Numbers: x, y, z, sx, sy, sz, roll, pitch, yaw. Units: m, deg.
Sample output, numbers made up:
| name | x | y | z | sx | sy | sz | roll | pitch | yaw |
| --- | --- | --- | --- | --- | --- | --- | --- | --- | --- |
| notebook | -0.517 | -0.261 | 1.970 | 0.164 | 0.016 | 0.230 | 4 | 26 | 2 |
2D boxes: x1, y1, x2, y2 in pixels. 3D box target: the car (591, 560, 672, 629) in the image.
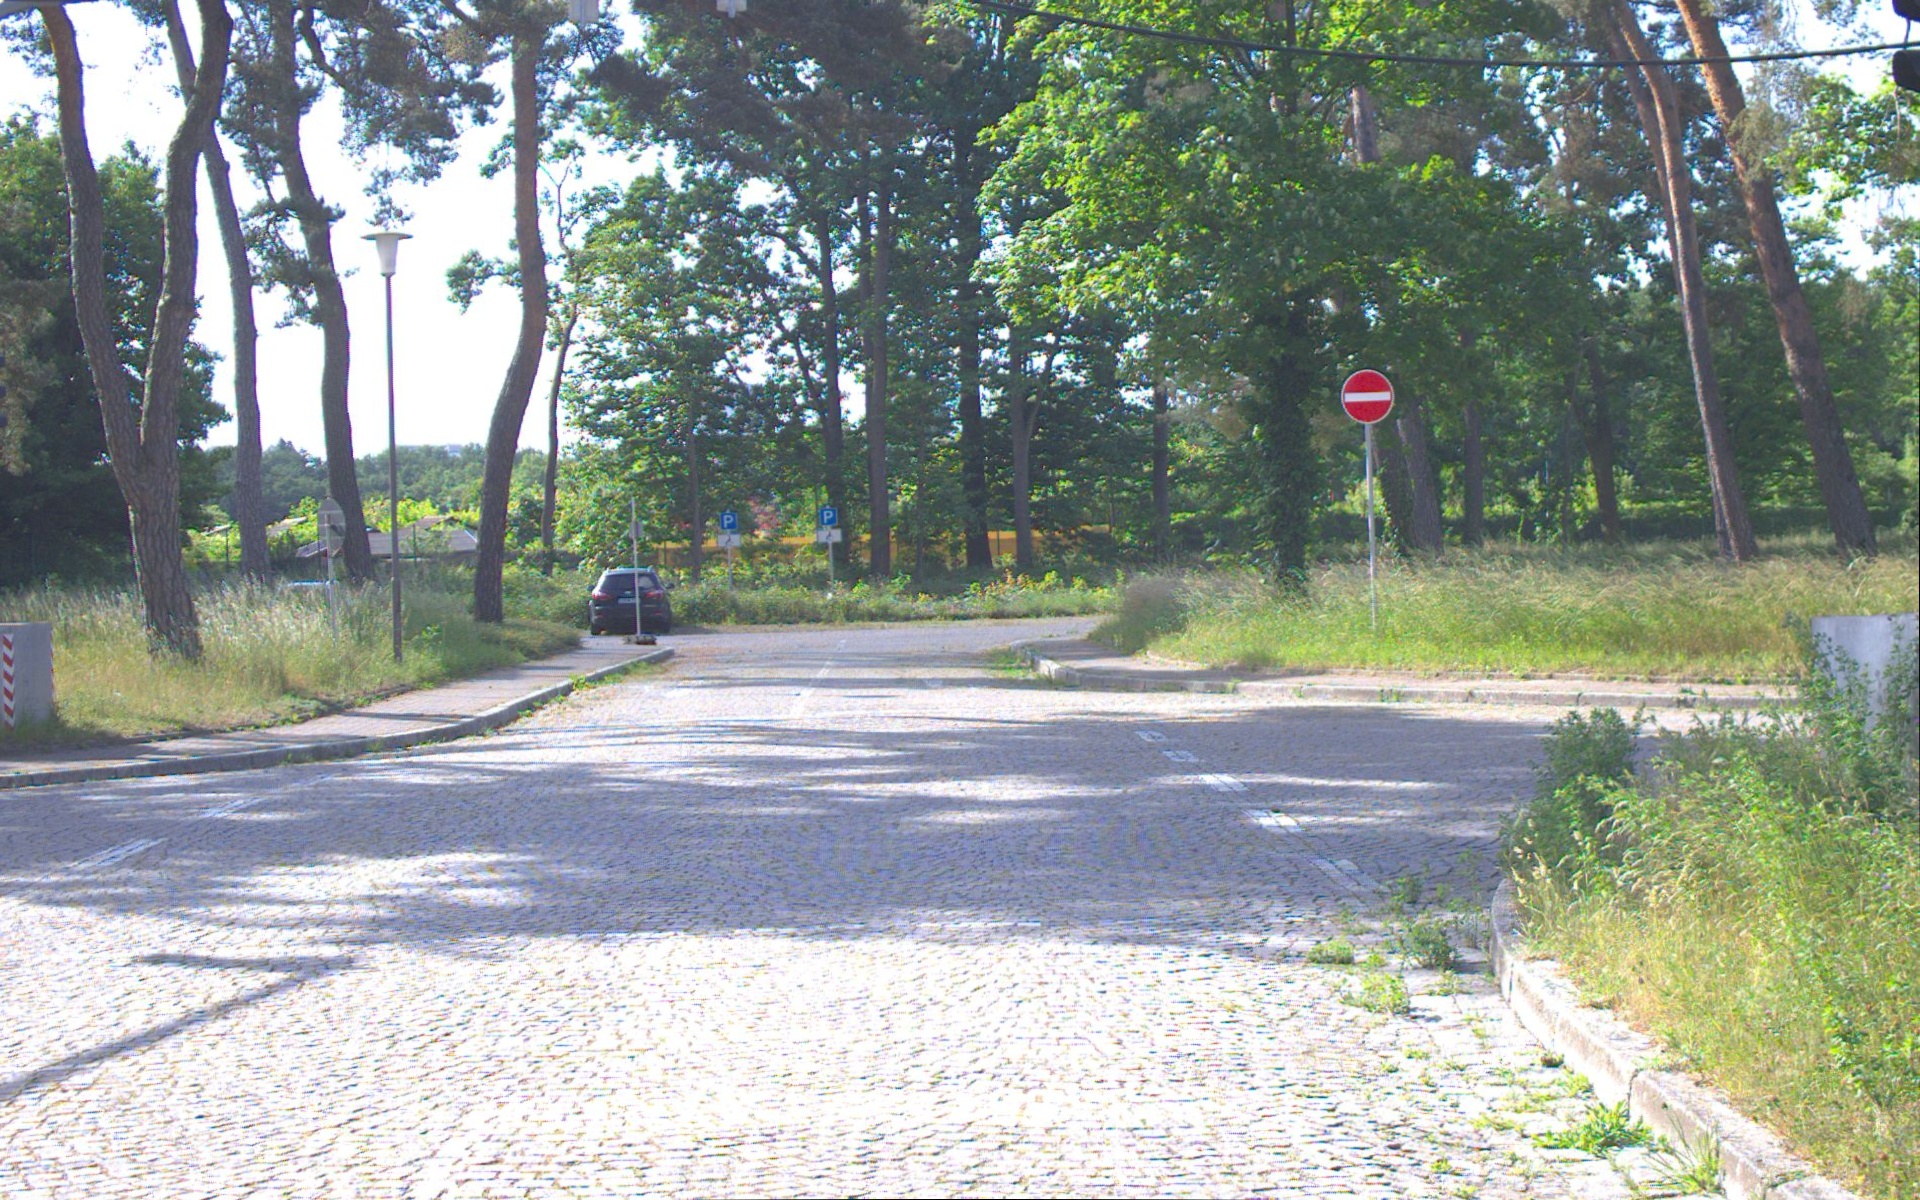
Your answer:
| name | x | y | z | sx | sy | sz | roll | pitch | yaw |
| --- | --- | --- | --- | --- | --- | --- | --- | --- | --- |
| car | -7.664 | -0.147 | 80.407 | 1.709 | 1.491 | 3.919 | -2 | 1 | -3 |

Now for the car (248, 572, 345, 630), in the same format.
| name | x | y | z | sx | sy | sz | roll | pitch | yaw |
| --- | --- | --- | --- | --- | --- | --- | --- | --- | --- |
| car | -15.614 | 0.006 | 81.053 | 1.709 | 1.269 | 3.919 | -2 | 1 | -3 |
